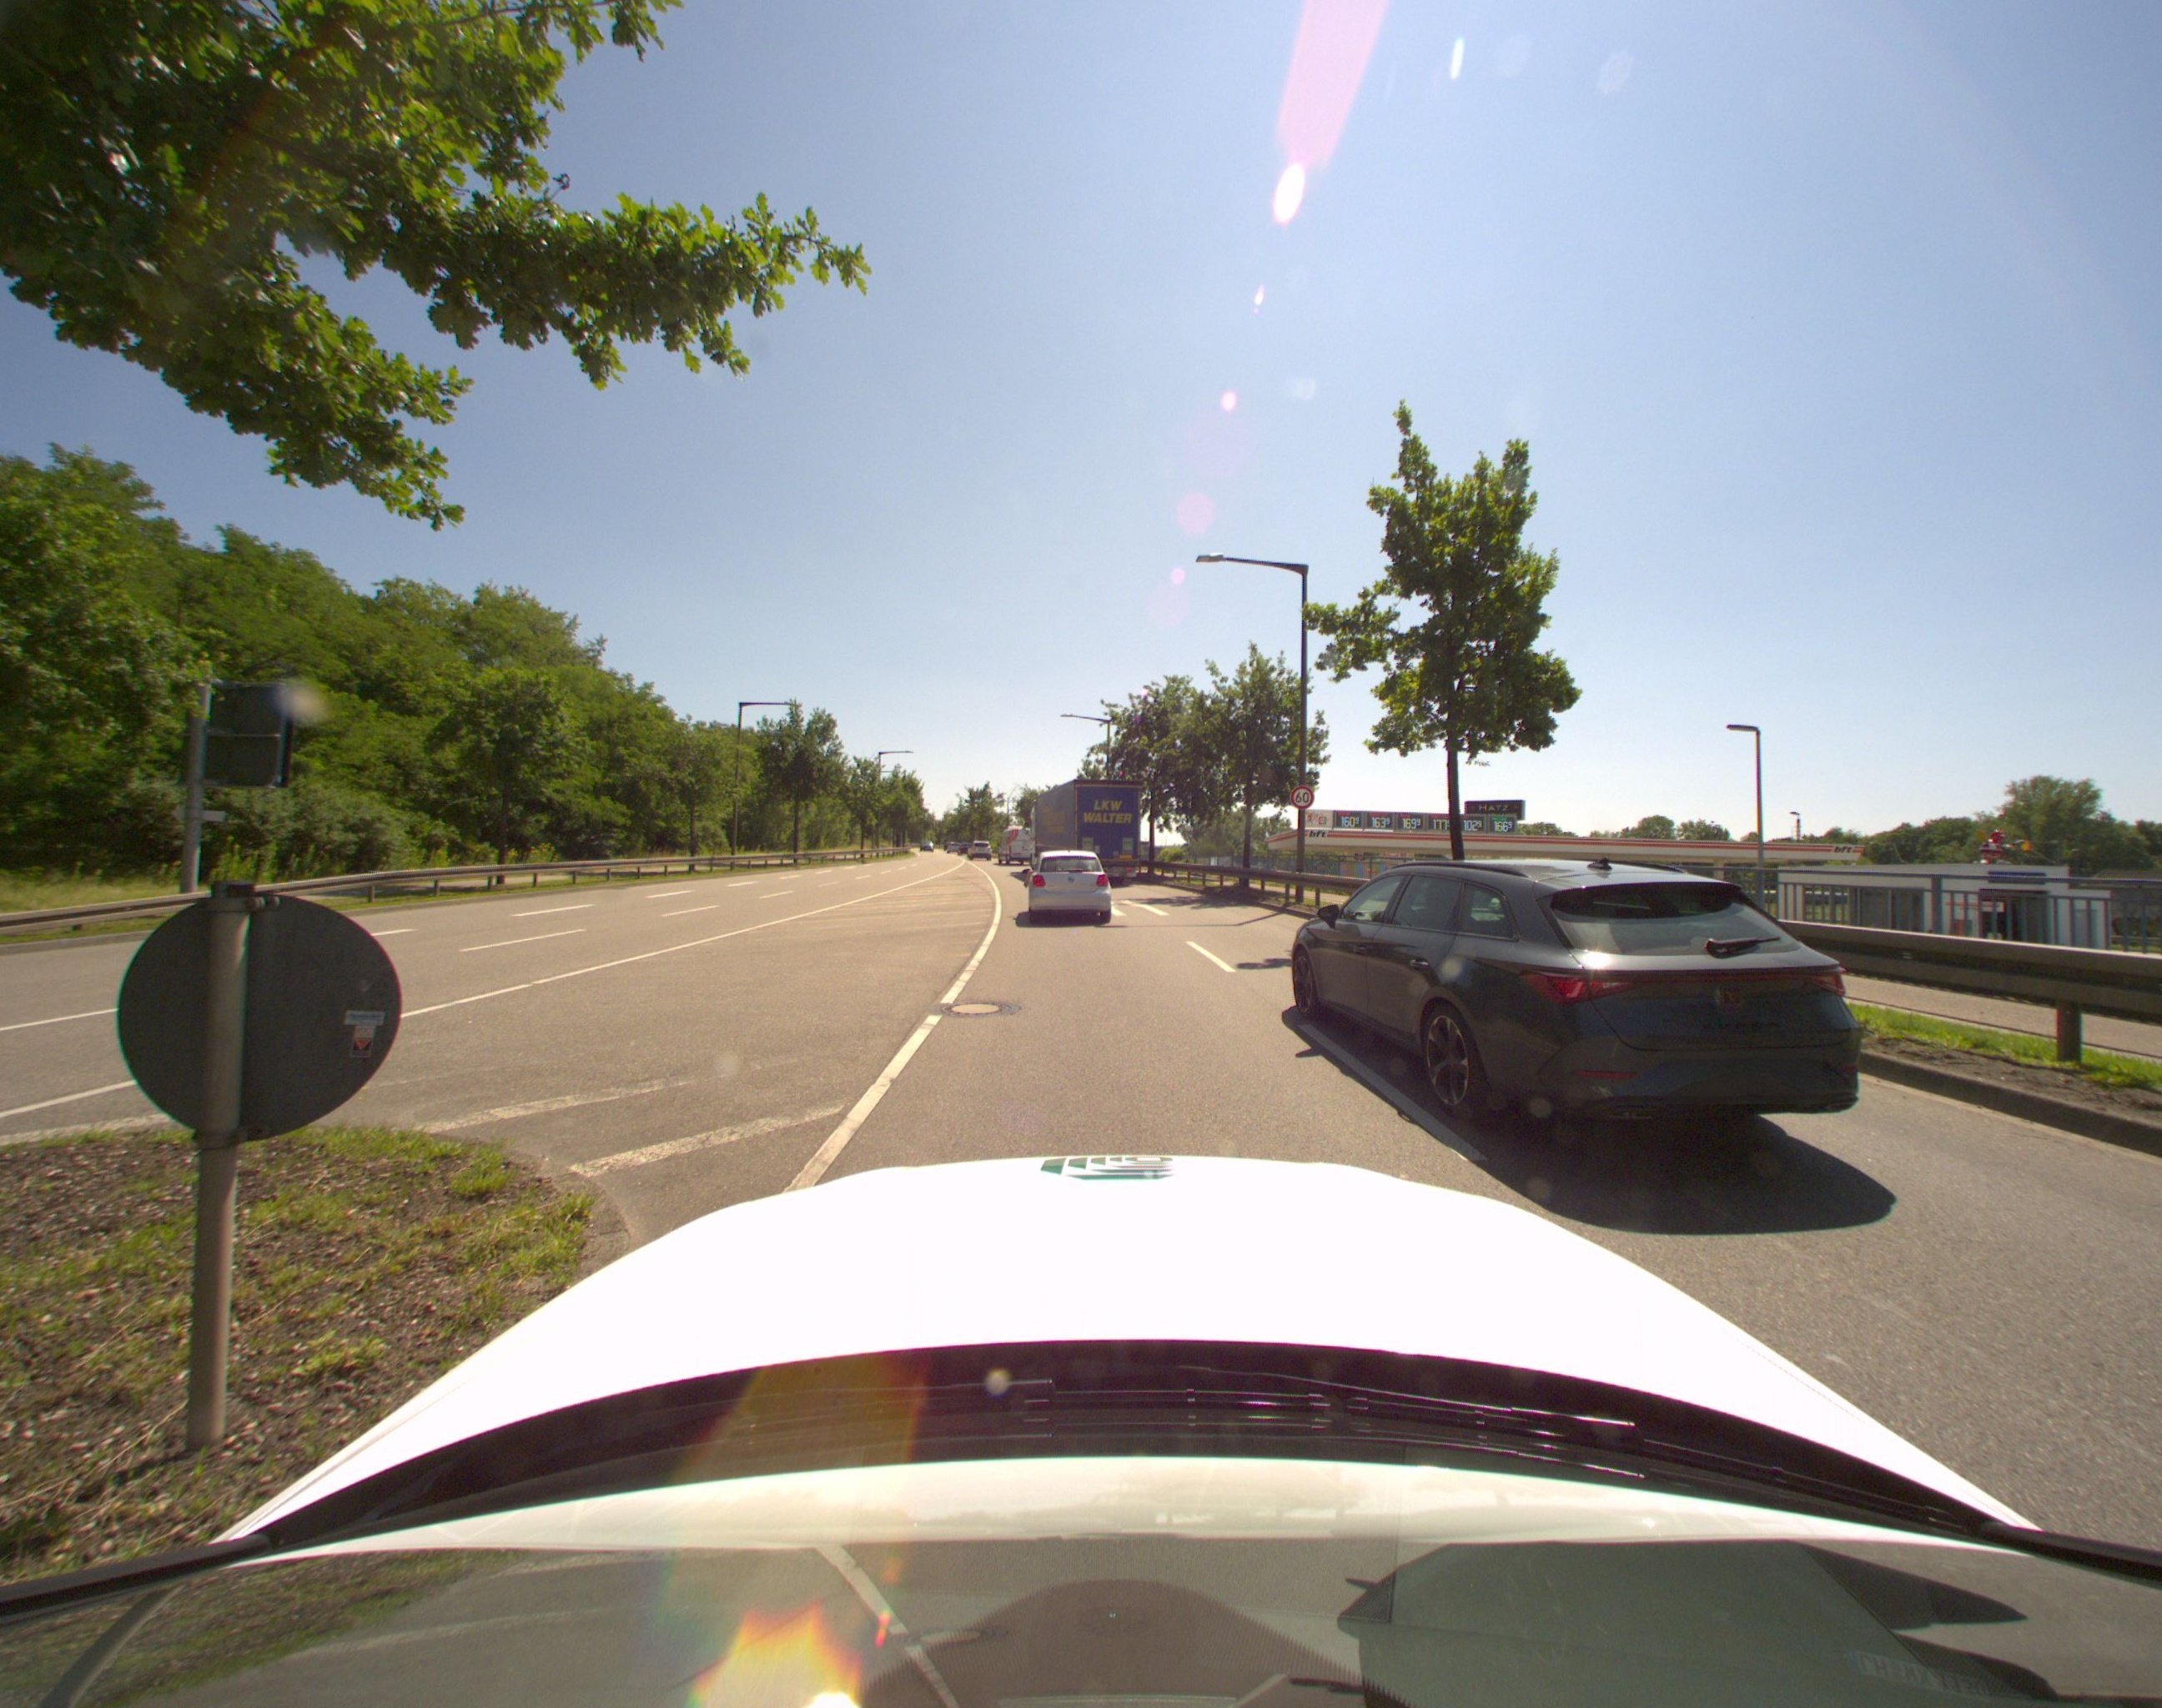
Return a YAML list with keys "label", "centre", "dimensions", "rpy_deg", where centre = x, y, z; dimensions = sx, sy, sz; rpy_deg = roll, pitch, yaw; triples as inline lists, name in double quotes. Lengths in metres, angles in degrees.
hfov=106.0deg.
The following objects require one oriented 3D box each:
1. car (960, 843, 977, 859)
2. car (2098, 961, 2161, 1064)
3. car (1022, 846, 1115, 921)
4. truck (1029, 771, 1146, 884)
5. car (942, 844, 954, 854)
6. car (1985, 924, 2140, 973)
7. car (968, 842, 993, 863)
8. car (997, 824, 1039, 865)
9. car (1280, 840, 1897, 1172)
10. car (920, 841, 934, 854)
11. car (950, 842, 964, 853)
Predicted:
- label: "car"
  centre: [-12.804, -0.332, 92.578]
  dimensions: [1.722, 1.726, 3.985]
  rpy_deg: [1, -1, -11]
- label: "car"
  centre: [16.206, 2.264, 10.774]
  dimensions: [1.470, 1.309, 3.285]
  rpy_deg: [2, -2, -32]
- label: "car"
  centre: [-0.368, 0.611, 17.564]
  dimensions: [1.644, 1.439, 3.528]
  rpy_deg: [1, -1, -7]
- label: "truck"
  centre: [-0.272, -0.898, 38.724]
  dimensions: [2.833, 4.198, 16.420]
  rpy_deg: [1, -1, -9]
- label: "car"
  centre: [-21.415, -0.751, 131.187]
  dimensions: [1.663, 1.465, 3.573]
  rpy_deg: [1, -1, -6]
- label: "car"
  centre: [26.321, 2.507, 21.941]
  dimensions: [1.103, 1.078, 2.558]
  rpy_deg: [1, -1, -1]
- label: "car"
  centre: [-8.936, -0.131, 72.120]
  dimensions: [1.904, 1.718, 4.207]
  rpy_deg: [1, -1, -11]
- label: "car"
  centre: [-4.742, -0.710, 60.565]
  dimensions: [2.178, 2.900, 6.331]
  rpy_deg: [1, 0, -13]
- label: "car"
  centre: [2.797, 0.724, 5.749]
  dimensions: [1.600, 1.456, 4.231]
  rpy_deg: [1, -1, -2]
- label: "car"
  centre: [-20.191, -0.884, 106.877]
  dimensions: [1.678, 1.671, 3.745]
  rpy_deg: [0, 2, -8]
- label: "car"
  centre: [-16.204, -0.893, 106.401]
  dimensions: [1.608, 1.360, 3.650]
  rpy_deg: [1, -1, -10]
